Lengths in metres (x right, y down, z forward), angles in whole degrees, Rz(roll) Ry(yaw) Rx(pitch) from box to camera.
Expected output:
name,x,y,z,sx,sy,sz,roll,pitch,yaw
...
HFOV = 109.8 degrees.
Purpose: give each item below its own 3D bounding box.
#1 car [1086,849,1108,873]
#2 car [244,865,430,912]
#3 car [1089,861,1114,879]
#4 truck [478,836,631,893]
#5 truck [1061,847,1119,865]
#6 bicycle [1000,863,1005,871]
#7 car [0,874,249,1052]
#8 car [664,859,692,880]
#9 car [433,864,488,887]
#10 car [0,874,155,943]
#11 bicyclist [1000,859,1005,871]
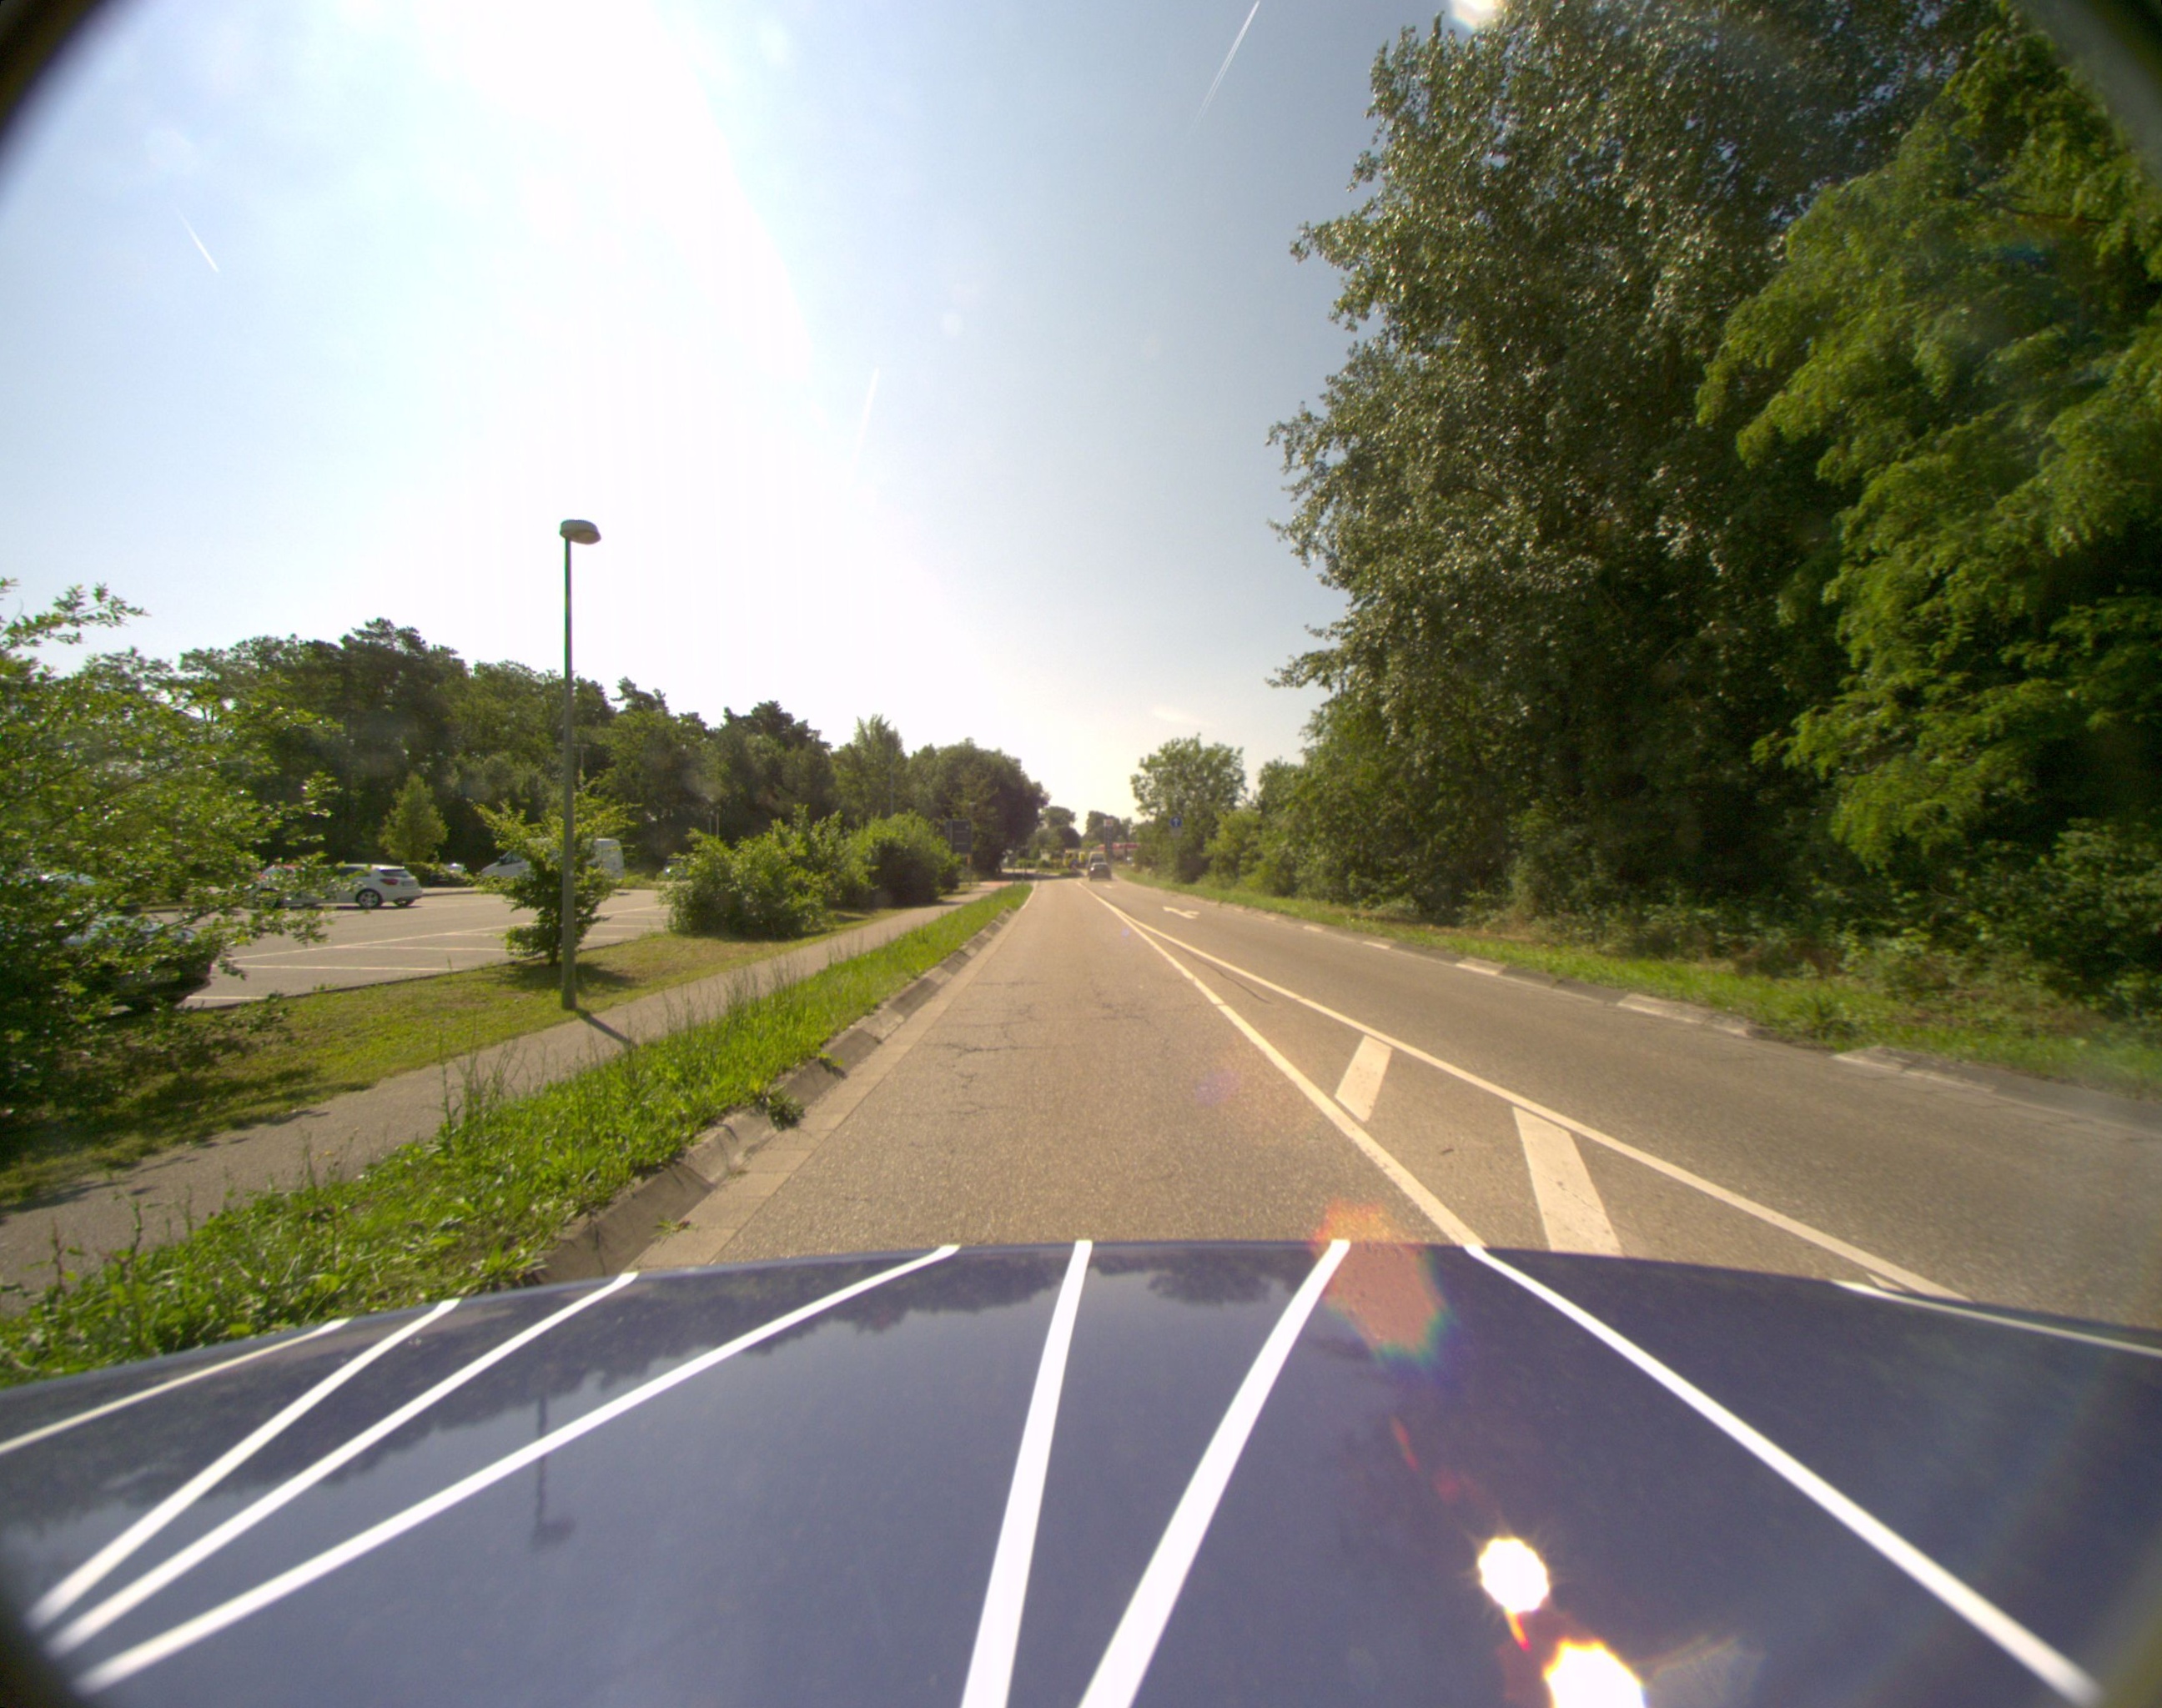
name,x,y,z,sx,sy,sz,roll,pitch,yaw
car,1.638,0.701,79.401,1.917,2.386,4.909,-1,0,-3
car,-24.472,1.095,25.154,3.976,1.444,1.903,0,0,-12
car,1.656,1.283,62.195,1.703,1.381,4.293,-1,0,-3
truck,-24.725,0.471,35.856,5.614,2.590,2.202,0,0,-3
truck,1.534,0.351,139.054,10.336,3.374,3.883,0,0,-4
bicycle,-11.688,1.903,113.370,0.592,1.117,1.520,-2,0,-1
car,-11.751,1.037,7.938,4.130,1.618,1.752,0,0,-1
car,-30.577,1.111,57.596,1.763,1.522,4.363,0,0,-29
car,-41.752,1.399,51.204,2.074,1.477,3.991,-1,0,-28
car,-23.971,1.194,16.981,4.000,1.419,1.748,0,0,-9
bicyclist,-11.701,1.602,113.484,0.638,1.720,0.978,-2,0,-1
